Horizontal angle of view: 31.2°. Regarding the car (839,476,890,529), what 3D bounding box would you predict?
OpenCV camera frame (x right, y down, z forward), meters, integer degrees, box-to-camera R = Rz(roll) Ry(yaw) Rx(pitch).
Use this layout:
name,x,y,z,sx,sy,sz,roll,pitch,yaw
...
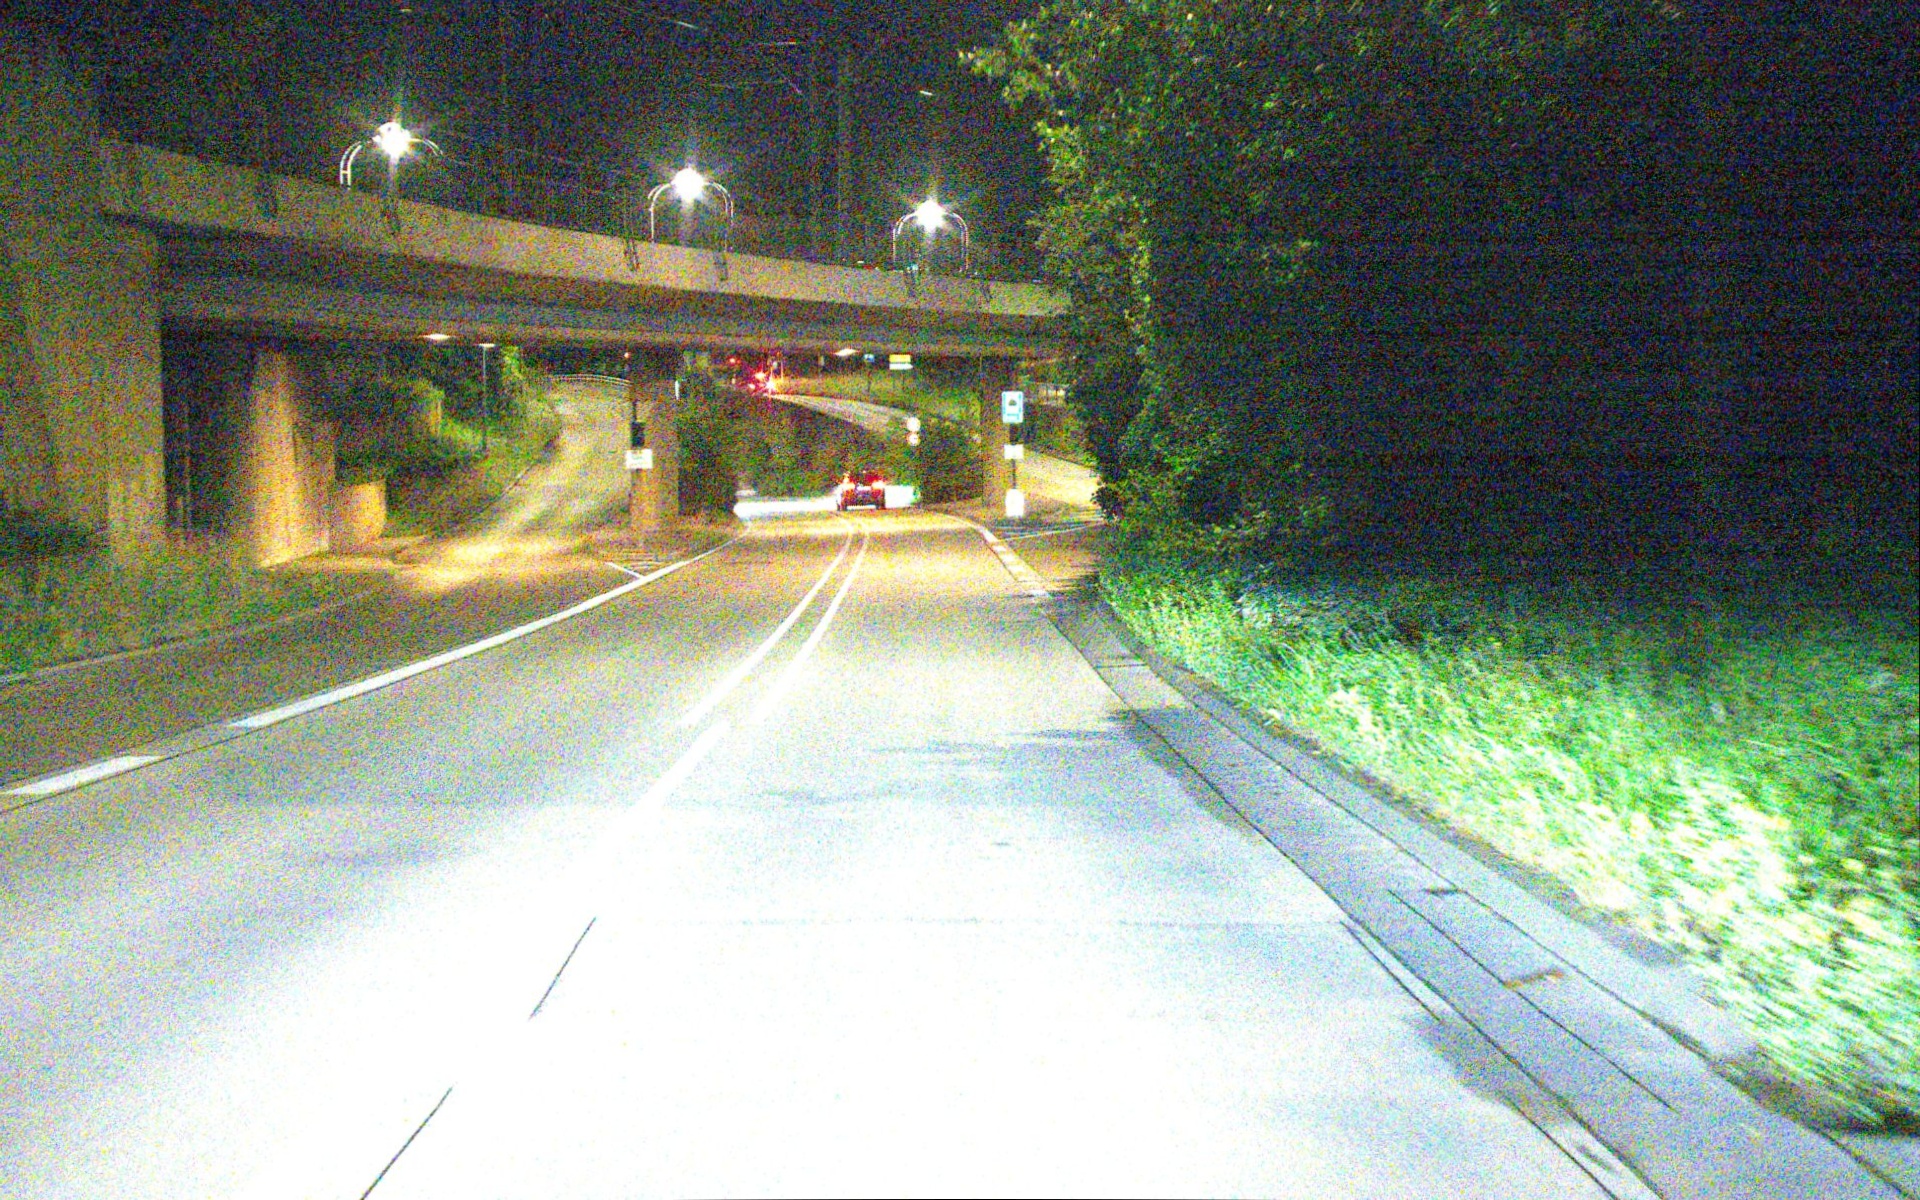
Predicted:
name,x,y,z,sx,sy,sz,roll,pitch,yaw
car,-3.838,-3.928,138.947,1.918,2.007,4.123,2,1,-1
